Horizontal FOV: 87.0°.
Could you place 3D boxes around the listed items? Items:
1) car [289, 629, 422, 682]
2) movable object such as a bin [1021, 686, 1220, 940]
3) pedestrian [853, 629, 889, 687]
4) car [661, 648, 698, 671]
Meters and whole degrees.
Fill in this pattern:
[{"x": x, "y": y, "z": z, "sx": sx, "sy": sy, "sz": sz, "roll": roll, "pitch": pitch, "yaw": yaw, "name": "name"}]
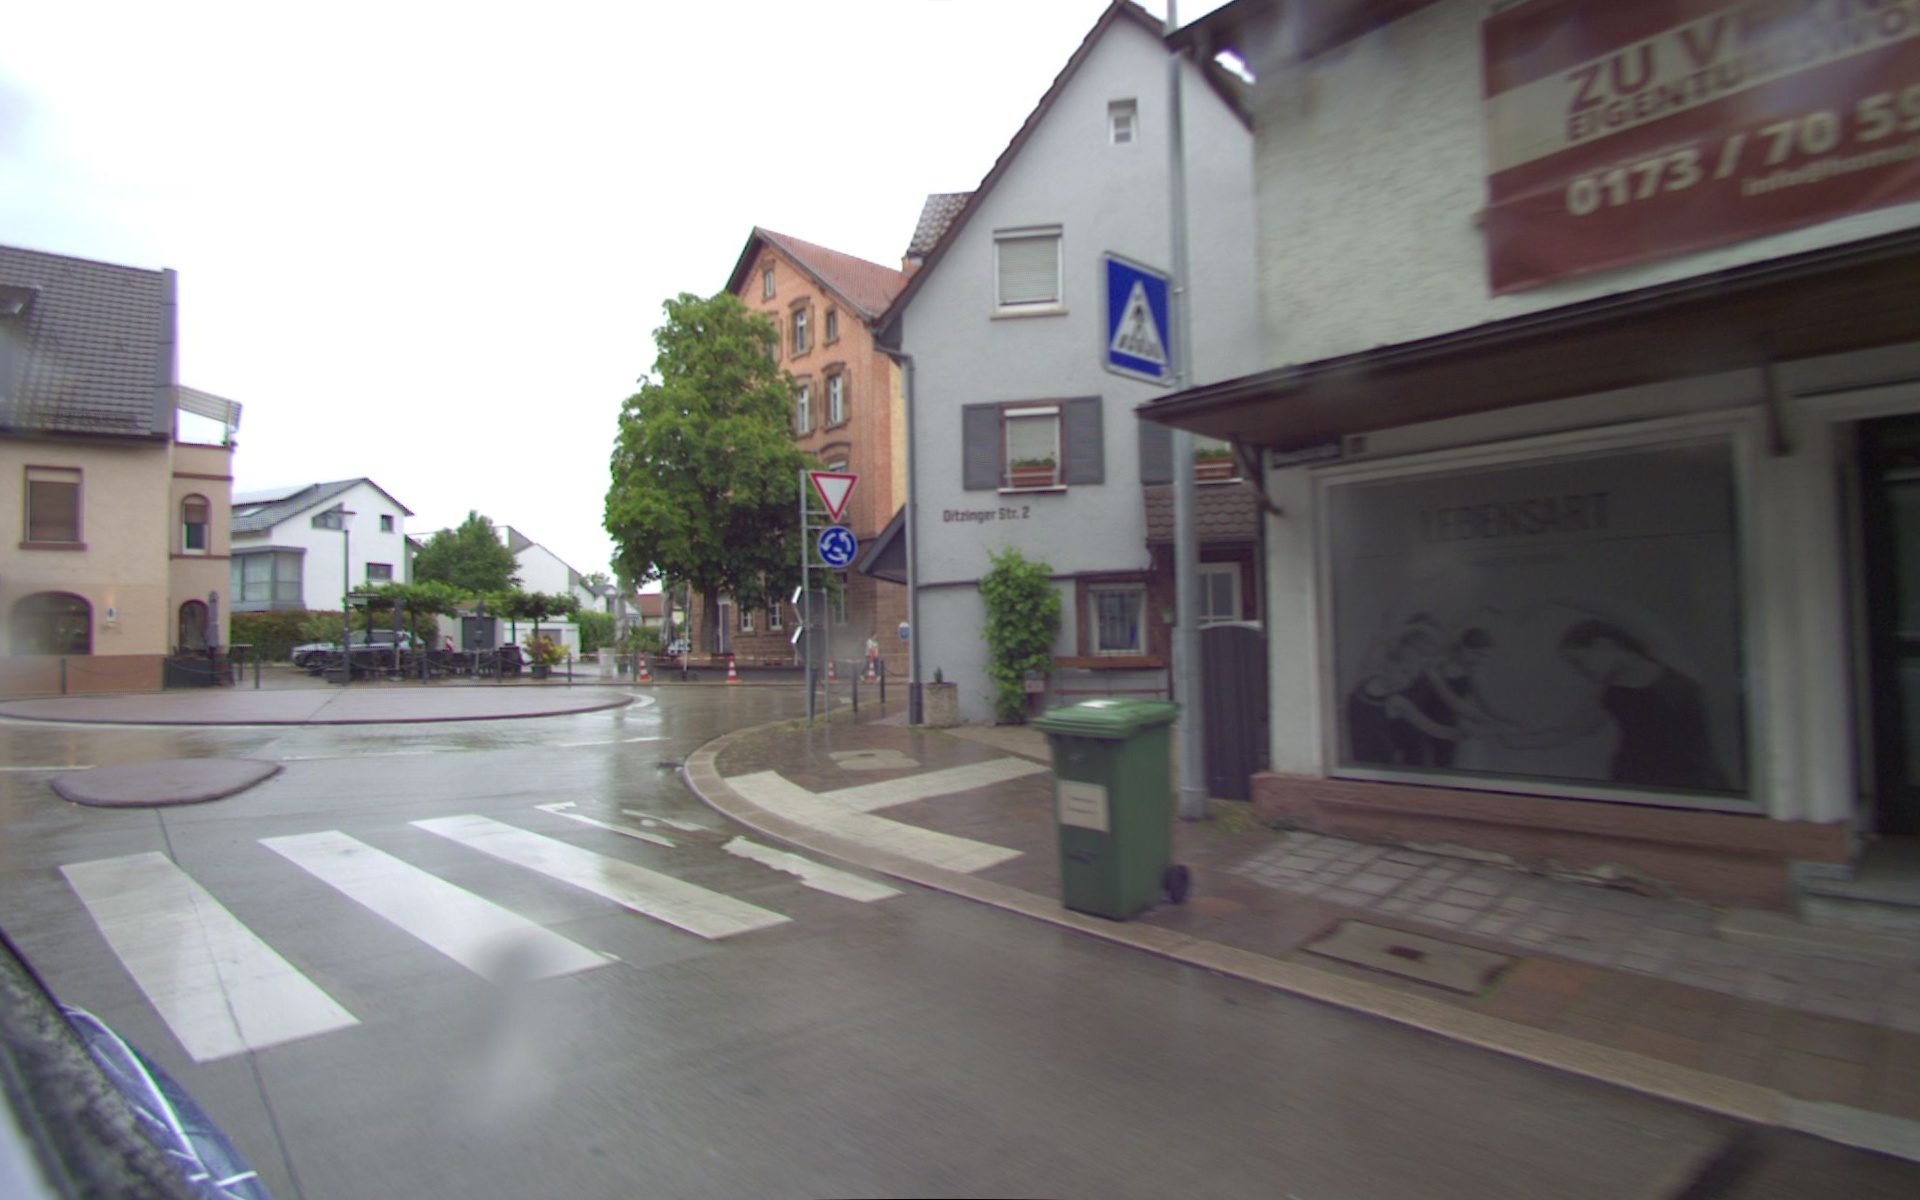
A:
[{"x": -24.157, "y": 2.242, "z": 40.589, "sx": 4.412, "sy": 2.029, "sz": 2.006, "roll": 3, "pitch": -4, "yaw": -31, "name": "car"}, {"x": 0.829, "y": 1.034, "z": 5.224, "sx": 0.760, "sy": 1.089, "sz": 0.680, "roll": -1, "pitch": 1, "yaw": 40, "name": "movable object such as a bin"}, {"x": -2.980, "y": 1.923, "z": 33.954, "sx": 0.812, "sy": 1.901, "sz": 0.844, "roll": 3, "pitch": -3, "yaw": -43, "name": "pedestrian"}, {"x": -18.134, "y": 3.843, "z": 65.360, "sx": 1.842, "sy": 1.453, "sz": 4.013, "roll": 2, "pitch": -4, "yaw": -21, "name": "car"}]
